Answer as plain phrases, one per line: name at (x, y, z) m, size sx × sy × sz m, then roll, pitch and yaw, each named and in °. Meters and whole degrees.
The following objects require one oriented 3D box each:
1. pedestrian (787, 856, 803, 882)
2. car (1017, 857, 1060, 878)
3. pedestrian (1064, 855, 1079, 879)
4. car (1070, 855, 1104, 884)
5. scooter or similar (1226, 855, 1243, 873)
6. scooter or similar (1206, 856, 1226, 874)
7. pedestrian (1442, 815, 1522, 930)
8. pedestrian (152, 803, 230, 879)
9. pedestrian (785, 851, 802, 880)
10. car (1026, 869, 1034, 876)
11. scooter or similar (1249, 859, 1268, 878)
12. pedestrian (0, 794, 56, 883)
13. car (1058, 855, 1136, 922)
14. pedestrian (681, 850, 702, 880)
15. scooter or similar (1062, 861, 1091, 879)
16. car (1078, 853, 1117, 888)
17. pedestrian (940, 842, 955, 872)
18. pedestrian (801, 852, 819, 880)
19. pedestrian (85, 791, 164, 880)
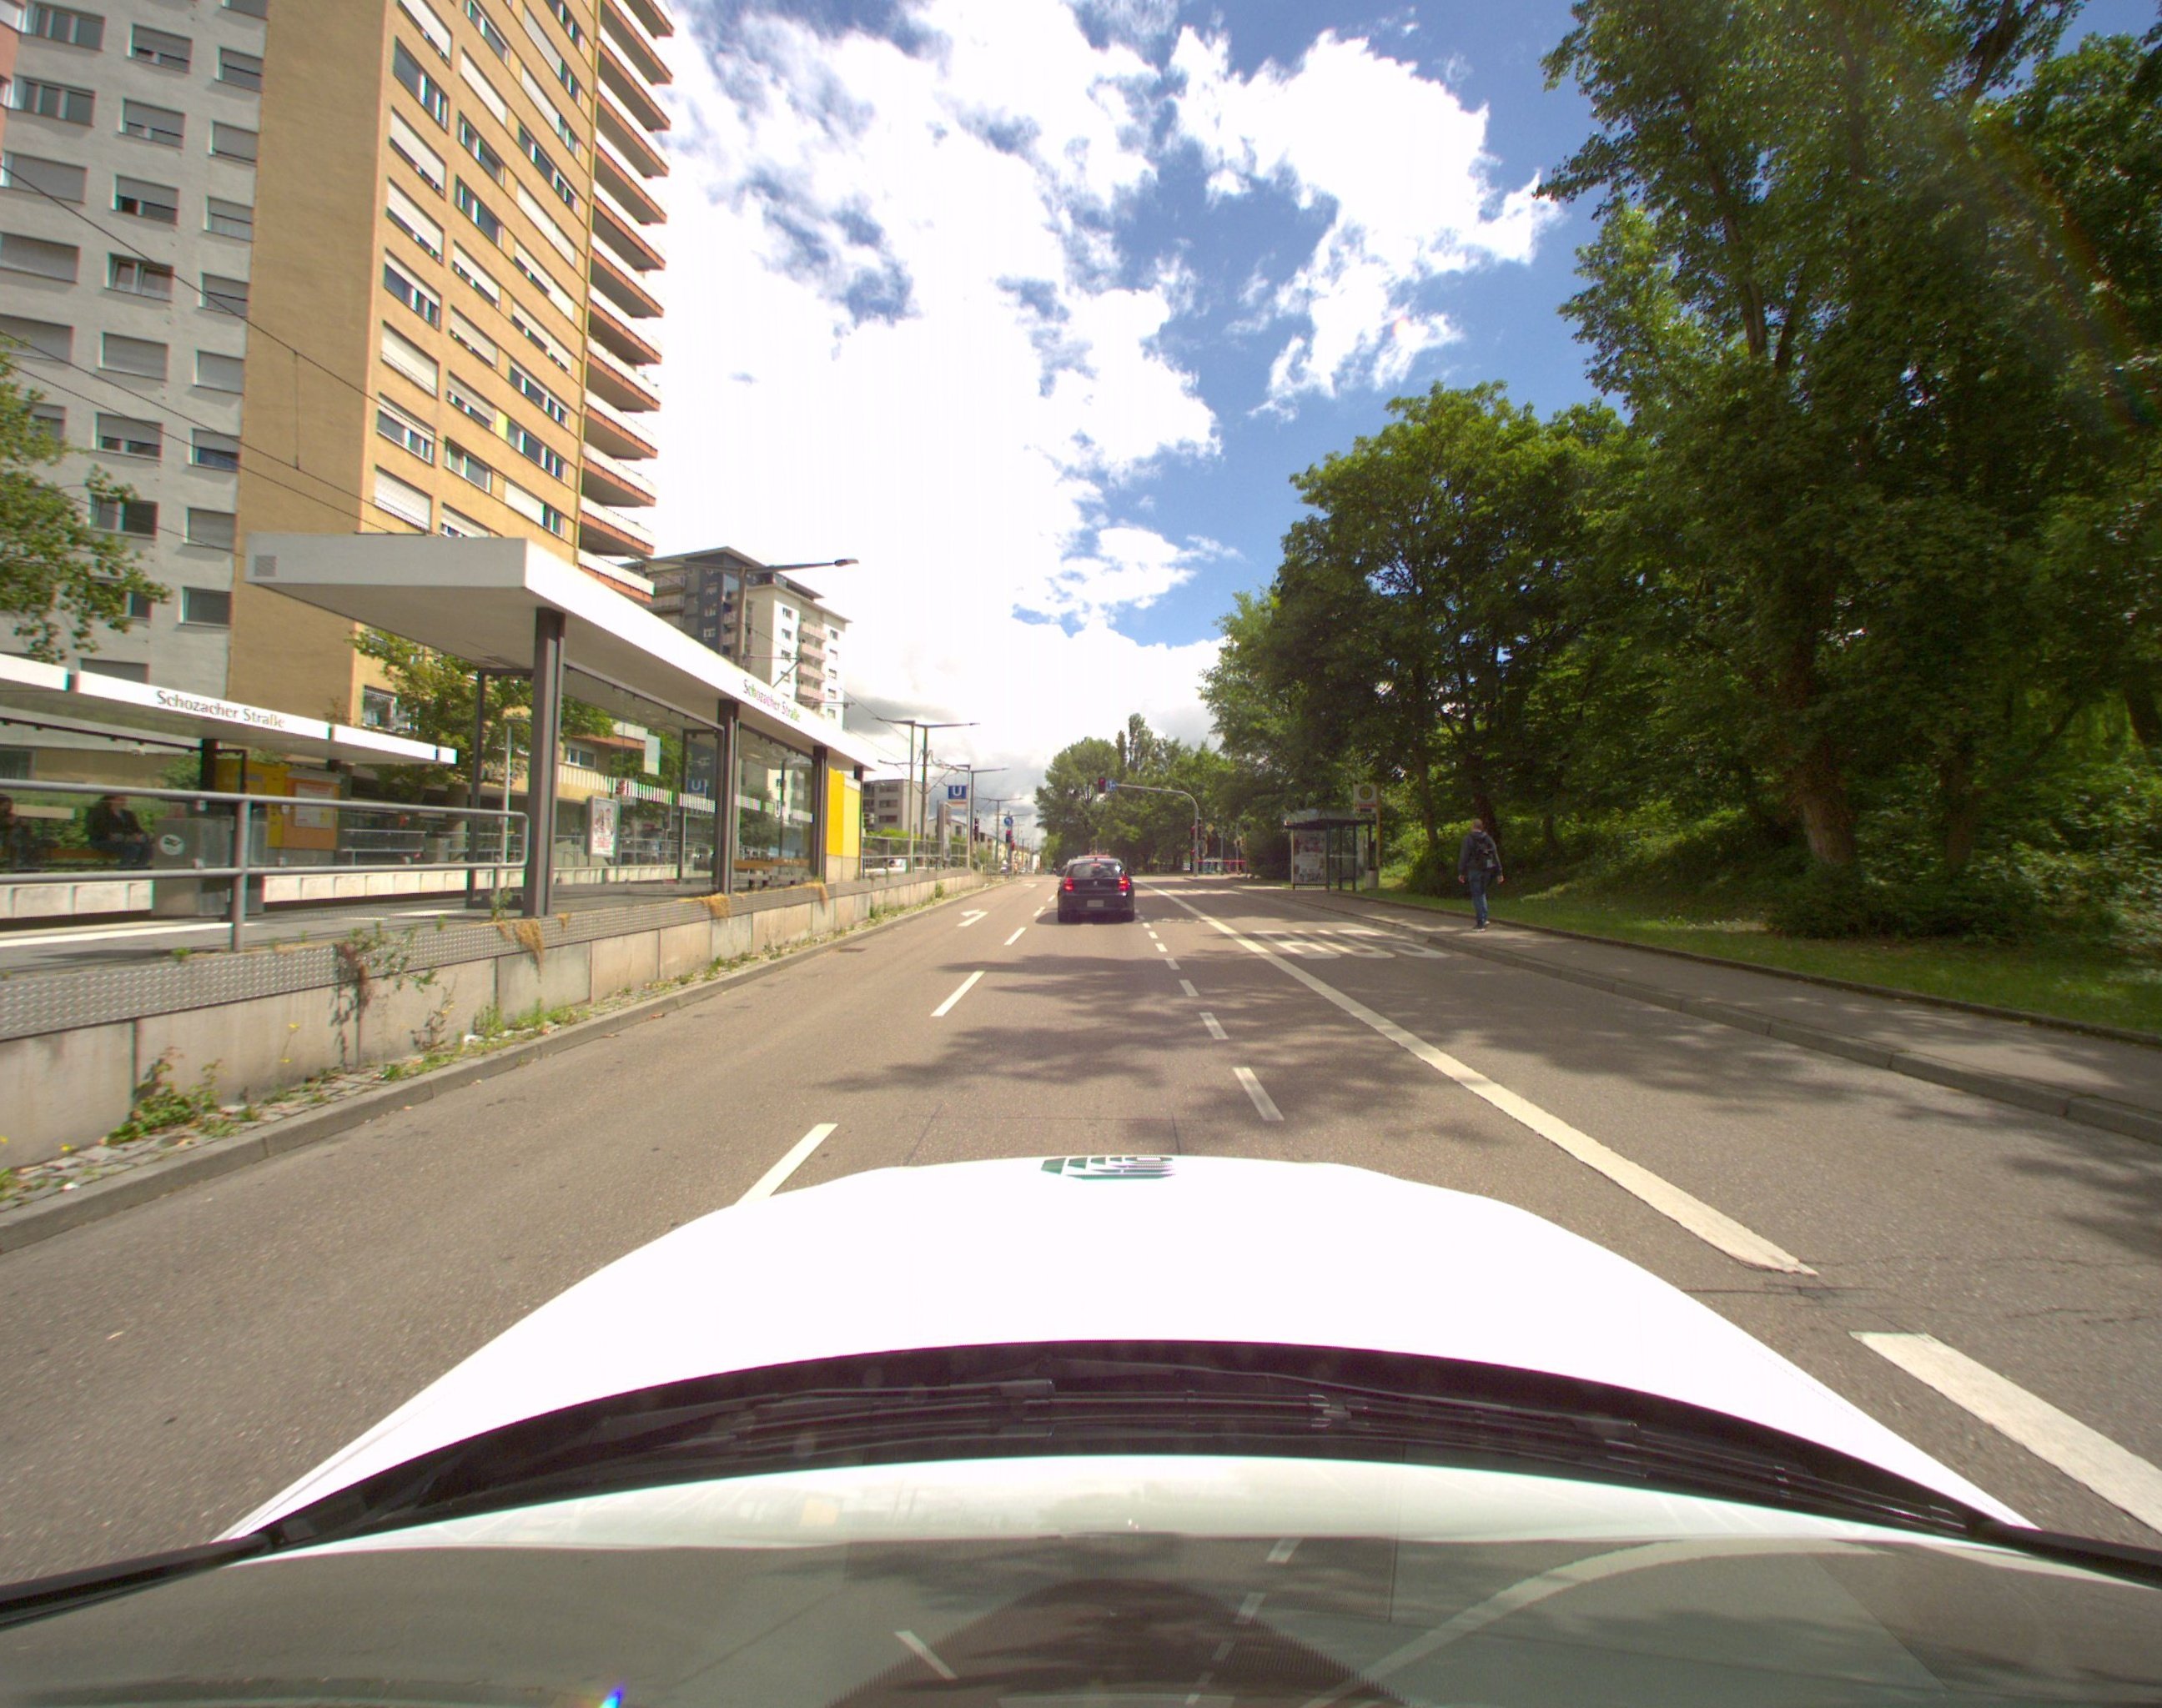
pedestrian at (-15.174, 0.786, 43.207) m, size 0.660 × 1.343 × 0.558 m, roll -1°, pitch -1°, yaw 43°
car at (-4.133, 1.275, 79.000) m, size 3.726 × 2.014 × 1.799 m, roll 0°, pitch -1°, yaw -23°
pedestrian at (-0.589, 0.803, 51.104) m, size 0.862 × 1.442 × 0.798 m, roll -1°, pitch 0°, yaw -1°
car at (0.285, 0.769, 42.361) m, size 1.649 × 1.419 × 3.516 m, roll 0°, pitch 0°, yaw -1°
scooter or similar at (10.447, 0.687, 55.508) m, size 1.107 × 1.258 × 0.330 m, roll -1°, pitch 0°, yaw -11°
scooter or similar at (9.037, 0.727, 54.655) m, size 1.290 × 1.189 × 0.383 m, roll -1°, pitch 0°, yaw -15°
pedestrian at (6.908, 0.312, 14.095) m, size 0.798 × 1.895 × 1.271 m, roll 0°, pitch 0°, yaw 2°
pedestrian at (-14.926, -0.215, 13.673) m, size 0.739 × 1.236 × 0.518 m, roll -1°, pitch 0°, yaw 1°
pedestrian at (-15.612, 0.632, 44.236) m, size 0.605 × 1.583 × 0.776 m, roll 0°, pitch 0°, yaw 5°
car at (-13.336, 4.903, 214.698) m, size 1.961 × 1.596 × 3.998 m, roll 0°, pitch 0°, yaw -1°
scooter or similar at (10.919, 0.889, 50.180) m, size 1.153 × 1.099 × 0.329 m, roll 0°, pitch 0°, yaw -23°
pedestrian at (-15.215, -0.214, 11.604) m, size 0.520 × 1.236 × 0.541 m, roll -1°, pitch 0°, yaw -11°
car at (0.423, 0.744, 19.095) m, size 1.648 × 1.419 × 3.519 m, roll 0°, pitch 0°, yaw 3°
pedestrian at (-21.900, 0.613, 45.785) m, size 0.851 × 1.696 × 0.692 m, roll 0°, pitch 0°, yaw 18°
scooter or similar at (-0.286, 0.987, 50.524) m, size 1.783 × 1.051 × 0.408 m, roll -1°, pitch 0°, yaw -15°
car at (0.729, 0.692, 35.272) m, size 1.589 × 1.419 × 3.518 m, roll 0°, pitch 0°, yaw 2°
pedestrian at (-7.405, 0.170, 45.235) m, size 0.698 × 1.632 × 0.638 m, roll -1°, pitch 0°, yaw 0°
pedestrian at (-15.091, 0.661, 45.387) m, size 0.857 × 1.578 × 0.622 m, roll 0°, pitch 0°, yaw -8°
pedestrian at (-15.124, -0.285, 12.889) m, size 0.641 × 1.369 × 0.507 m, roll -1°, pitch 0°, yaw 1°
